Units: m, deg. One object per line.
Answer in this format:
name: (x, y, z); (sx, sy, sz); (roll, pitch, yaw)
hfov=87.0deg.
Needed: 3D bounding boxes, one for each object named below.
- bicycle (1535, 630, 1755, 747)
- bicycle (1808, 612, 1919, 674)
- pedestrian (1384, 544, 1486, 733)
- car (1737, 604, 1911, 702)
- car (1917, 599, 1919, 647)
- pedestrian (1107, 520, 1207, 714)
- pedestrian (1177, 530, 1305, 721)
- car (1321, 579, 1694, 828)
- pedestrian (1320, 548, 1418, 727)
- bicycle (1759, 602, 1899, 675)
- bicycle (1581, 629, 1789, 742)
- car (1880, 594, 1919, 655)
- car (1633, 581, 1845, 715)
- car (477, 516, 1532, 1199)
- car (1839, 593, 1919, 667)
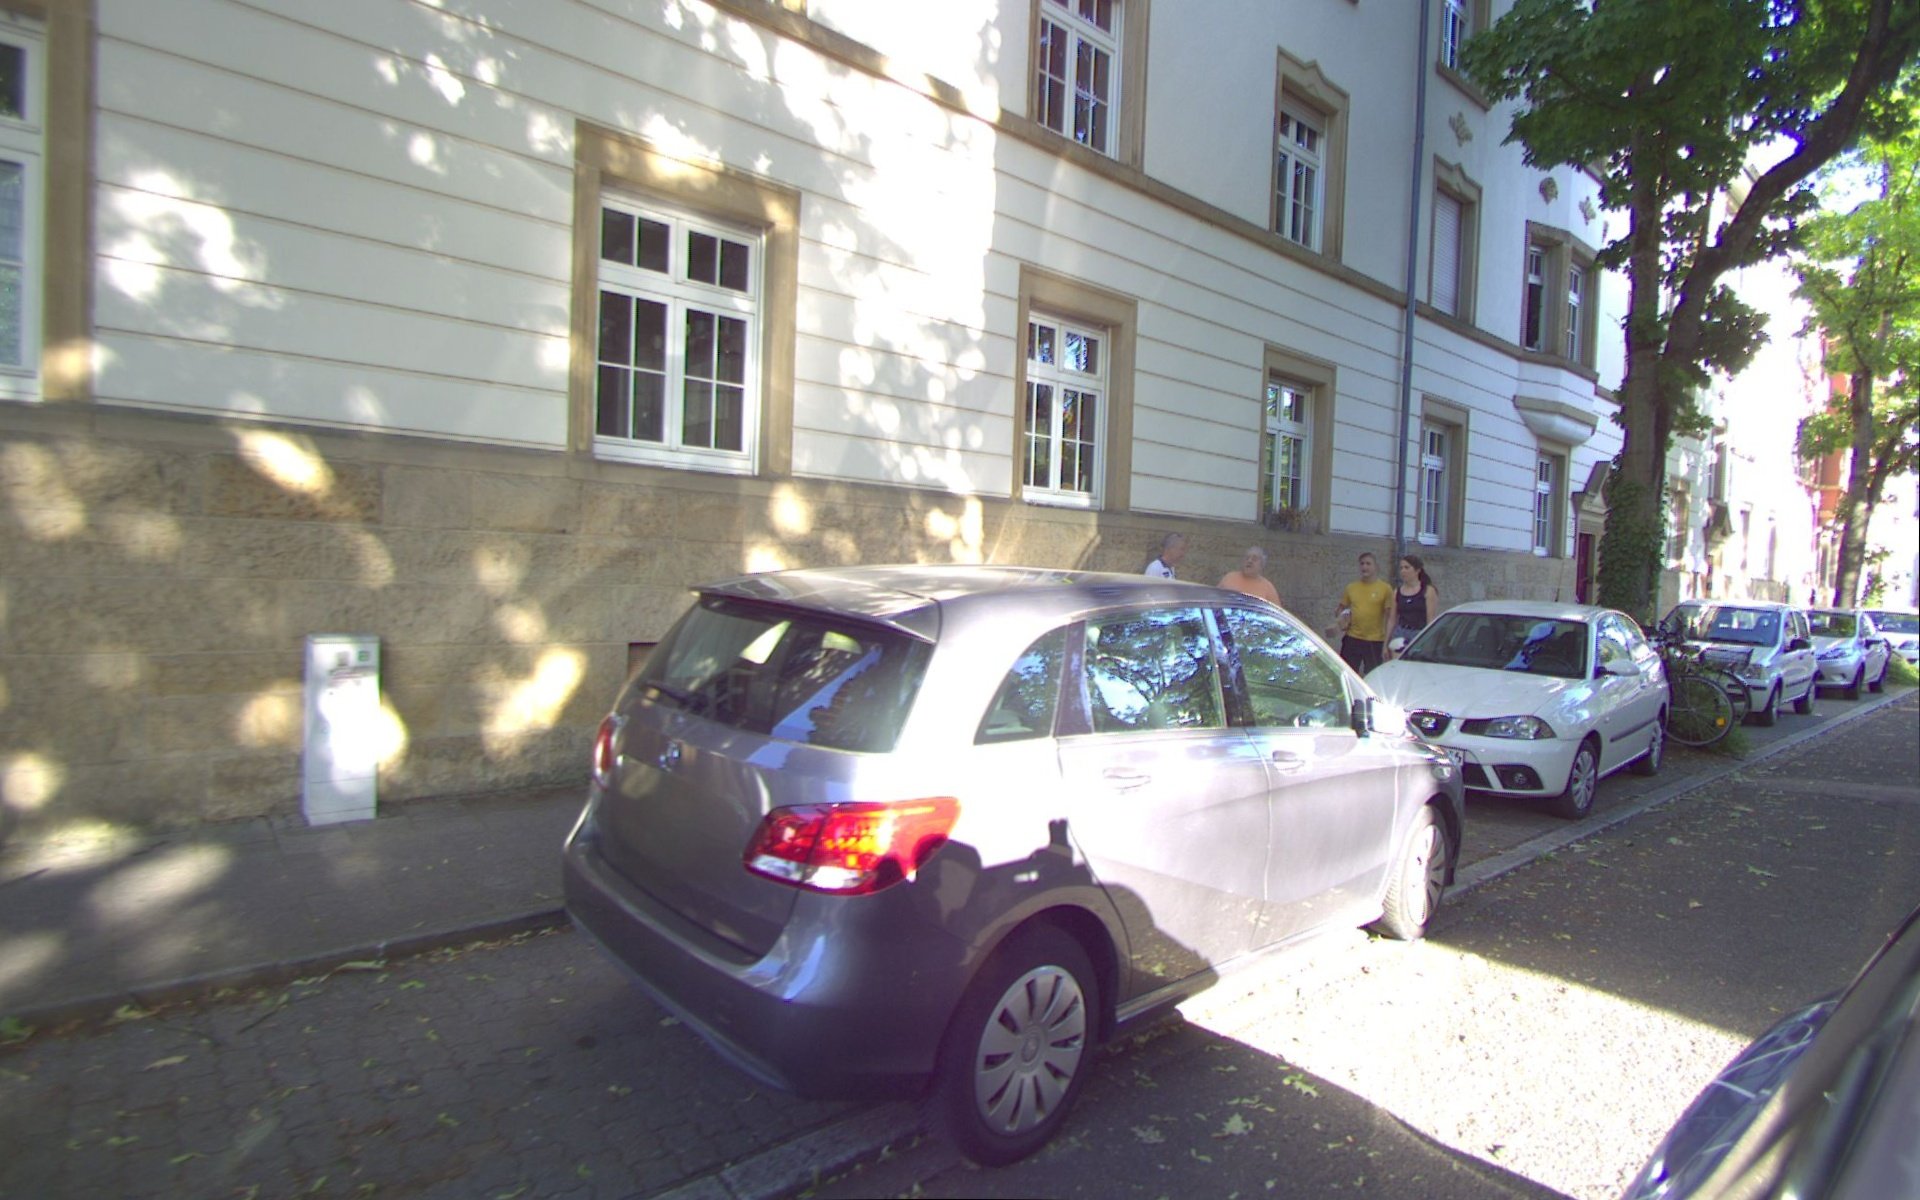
bicycle: (7.035, 0.866, 10.470); (0.720, 0.961, 1.720); (1, 3, -40)
bicycle: (18.818, 0.878, 20.825); (0.589, 1.086, 1.975); (1, 4, -39)
pedestrian: (4.649, 0.351, 9.902); (0.862, 1.756, 0.521); (1, 2, -39)
car: (14.916, 0.810, 17.401); (4.084, 1.411, 1.626); (0, 3, -41)
car: (32.373, 0.642, 32.551); (4.859, 1.737, 1.888); (0, 2, -42)
pedestrian: (1.835, 0.140, 9.430); (0.744, 1.726, 0.490); (0, 3, -42)
pedestrian: (2.703, 0.212, 9.738); (0.859, 1.715, 0.779); (0, 3, -42)
car: (4.567, 0.635, 8.181); (1.612, 1.496, 3.807); (3, 2, 45)
pedestrian: (4.117, 0.354, 10.194); (0.676, 1.722, 0.597); (1, 2, -39)
bicycle: (17.379, 0.730, 20.280); (0.746, 1.244, 1.975); (1, 4, -39)
bicycle: (7.981, 0.898, 11.210); (0.595, 1.052, 1.773); (1, 1, -40)
car: (26.160, 0.647, 27.113); (4.382, 1.532, 1.789); (0, 1, -42)
car: (10.515, 0.561, 13.582); (3.481, 1.529, 1.523); (0, 2, -40)
car: (0.613, 0.582, 4.135); (4.336, 1.570, 1.791); (0, 2, -44)
car: (21.531, 0.648, 23.121); (3.682, 1.506, 1.600); (0, 3, -41)
